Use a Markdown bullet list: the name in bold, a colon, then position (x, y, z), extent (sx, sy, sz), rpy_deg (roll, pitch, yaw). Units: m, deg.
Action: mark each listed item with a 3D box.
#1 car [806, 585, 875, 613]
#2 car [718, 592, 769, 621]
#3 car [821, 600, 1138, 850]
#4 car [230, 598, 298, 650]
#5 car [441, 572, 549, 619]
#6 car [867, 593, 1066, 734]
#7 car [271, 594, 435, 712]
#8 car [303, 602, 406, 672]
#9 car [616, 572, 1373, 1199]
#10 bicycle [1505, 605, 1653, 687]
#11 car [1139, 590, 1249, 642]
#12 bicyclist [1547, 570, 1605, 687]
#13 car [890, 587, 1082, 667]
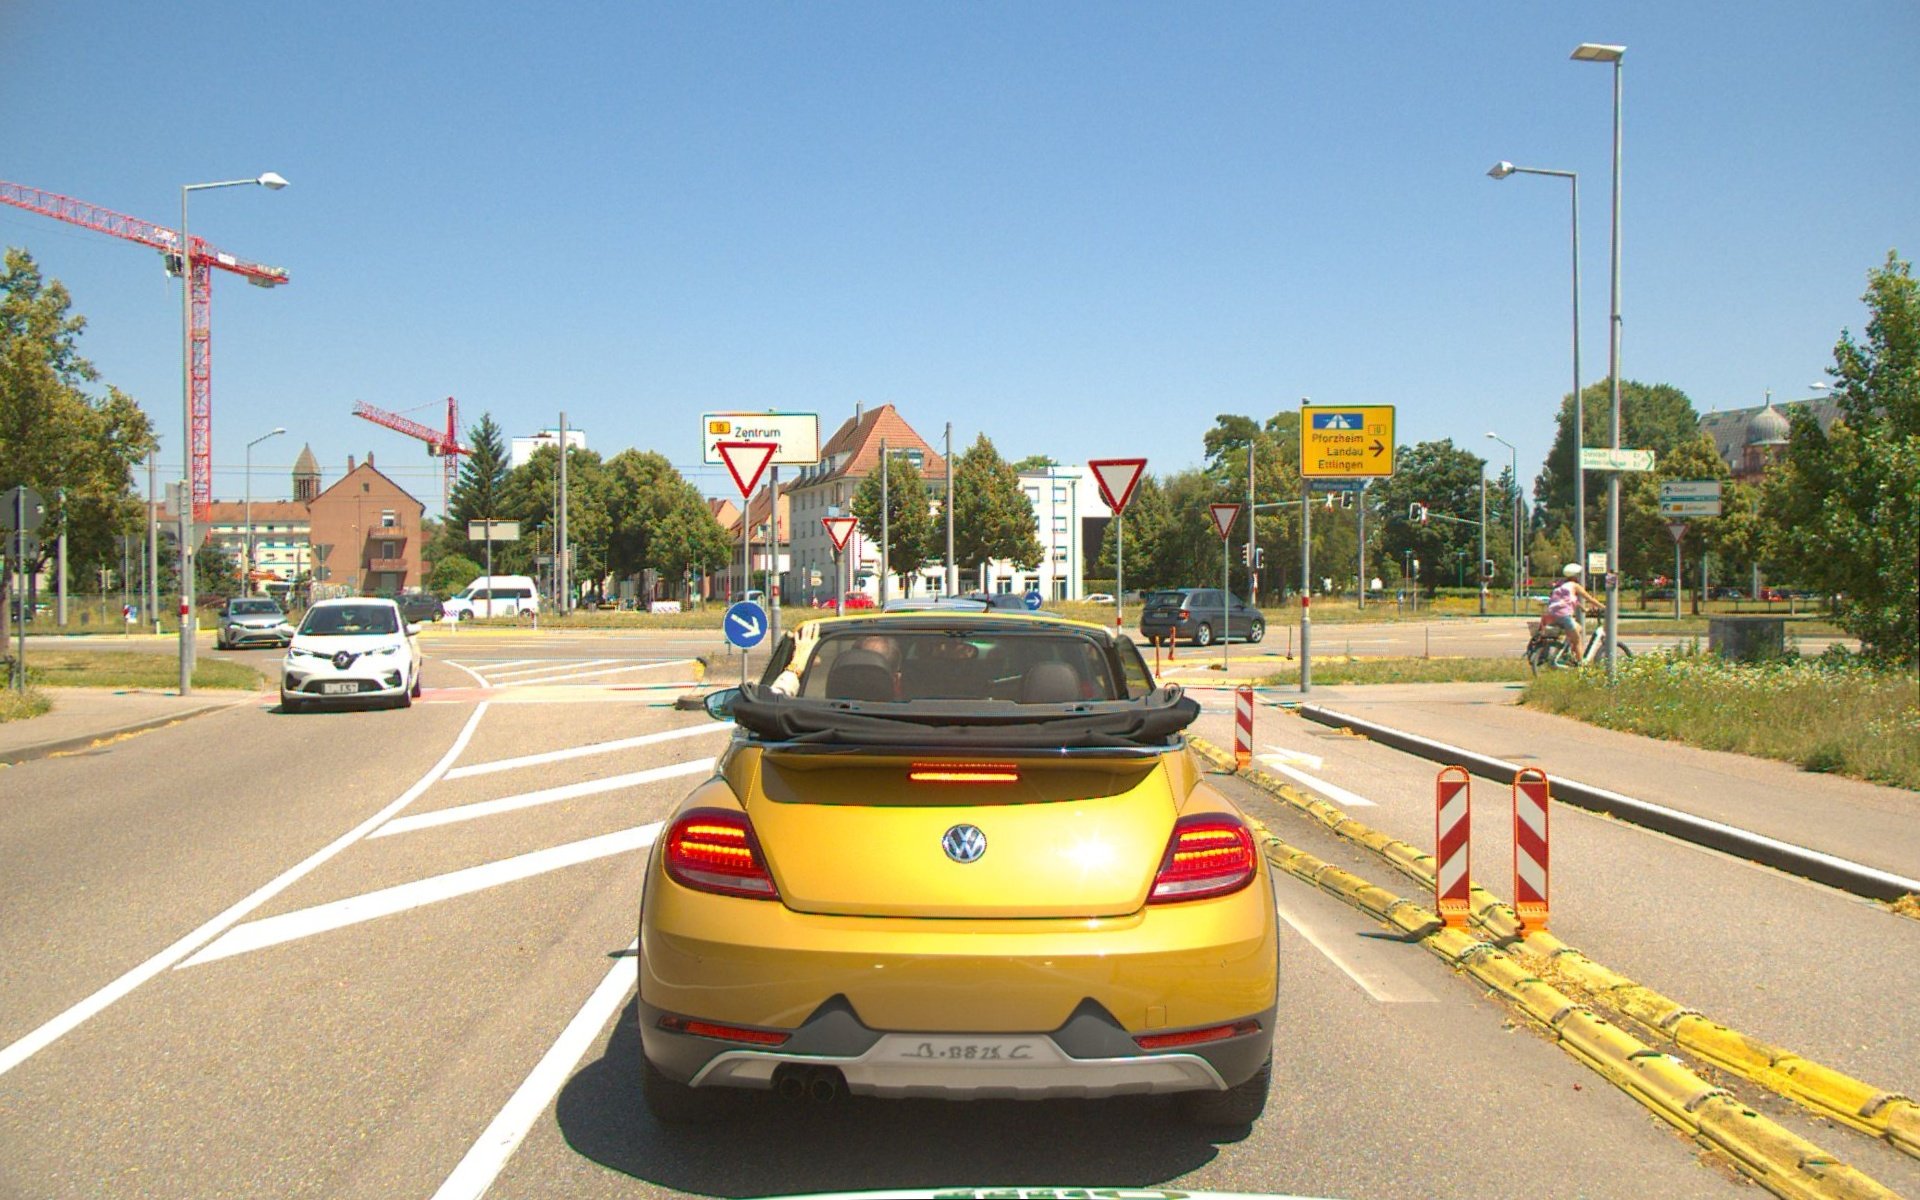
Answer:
- **car**: position (-7.554, -0.070, 104.273), extent (4.251, 1.683, 1.898), rpy_deg (1, 0, -8)
- **car**: position (-16.184, 0.482, 123.543), extent (1.966, 2.107, 5.275), rpy_deg (1, 0, -29)
- **car**: position (0.085, 0.717, 11.664), extent (1.814, 1.389, 4.257), rpy_deg (-1, 0, -1)
- **car**: position (-20.601, 0.687, 48.894), extent (1.705, 1.427, 4.237), rpy_deg (1, 0, -25)
- **car**: position (-24.948, -0.211, 88.862), extent (5.280, 2.439, 1.964), rpy_deg (1, -1, -41)
- **car**: position (0.036, 0.660, 19.102), extent (2.023, 1.406, 4.257), rpy_deg (1, 0, -1)
- **car**: position (-8.720, 0.695, 24.040), extent (1.745, 1.554, 3.859), rpy_deg (-1, 0, -13)
- **car**: position (-13.063, 0.760, 35.862), extent (1.718, 1.395, 4.313), rpy_deg (1, 0, -15)
- **car**: position (0.055, 0.712, 5.946), extent (1.729, 1.507, 4.257), rpy_deg (1, 0, -1)
- **bicycle**: position (9.623, 0.709, 25.746), extent (2.048, 1.242, 0.634), rpy_deg (-1, 0, 1)
- **car**: position (6.127, 0.419, 43.085), extent (1.411, 1.281, 3.201), rpy_deg (1, 0, 39)
- **bicyclist**: position (9.581, 0.428, 25.737), extent (0.656, 1.783, 0.592), rpy_deg (-1, 1, 1)
- **car**: position (0.619, 0.501, 33.947), extent (2.026, 1.506, 4.534), rpy_deg (-1, 0, 30)
